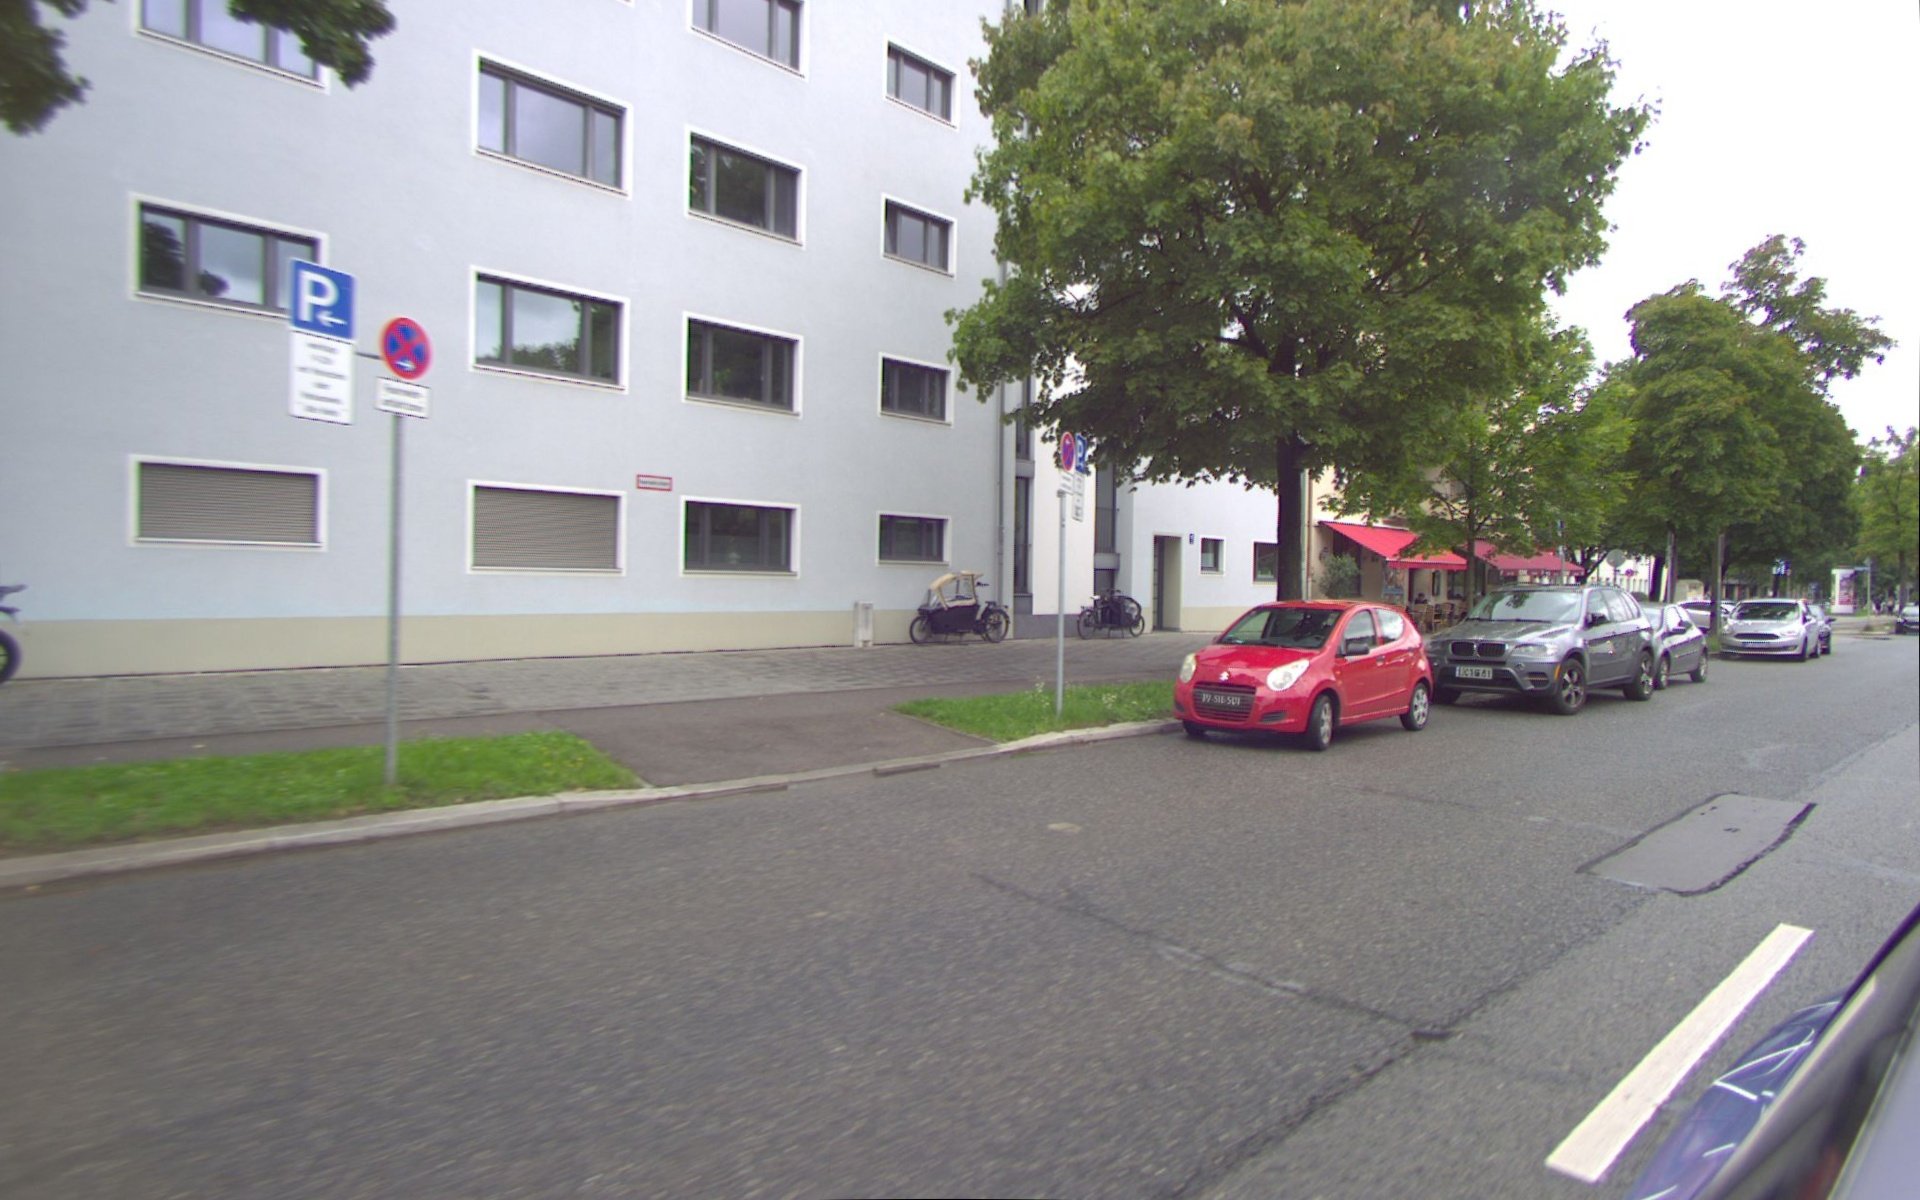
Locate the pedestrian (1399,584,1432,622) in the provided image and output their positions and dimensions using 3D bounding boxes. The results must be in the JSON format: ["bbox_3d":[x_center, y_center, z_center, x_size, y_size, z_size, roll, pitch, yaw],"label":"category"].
[{"bbox_3d":[14.840,0.094,32.993,0.635,1.177,0.745,0,3,-41],"label":"pedestrian"}]

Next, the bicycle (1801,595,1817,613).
[{"bbox_3d":[60.344,0.271,71.922,2.039,1.203,0.545,0,1,-41],"label":"bicycle"}]

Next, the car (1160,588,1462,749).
[{"bbox_3d":[3.994,0.621,11.185,3.933,1.459,1.523,0,1,-44],"label":"car"}]

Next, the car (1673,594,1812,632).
[{"bbox_3d":[33.228,0.533,43.090,1.959,1.460,4.229,0,1,-26],"label":"car"}]

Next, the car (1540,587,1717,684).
[{"bbox_3d":[12.170,0.562,18.343,3.706,1.541,1.832,0,1,-42],"label":"car"}]

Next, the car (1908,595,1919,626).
[{"bbox_3d":[47.936,0.539,49.743,3.888,1.496,1.646,1,0,-43],"label":"car"}]

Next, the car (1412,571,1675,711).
[{"bbox_3d":[8.645,0.495,14.851,4.426,1.768,1.834,0,1,-38],"label":"car"}]

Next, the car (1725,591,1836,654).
[{"bbox_3d":[21.877,0.548,26.926,4.450,1.541,1.830,0,0,-45],"label":"car"}]

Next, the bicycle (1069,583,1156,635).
[{"bbox_3d":[3.421,0.184,22.556,2.157,1.059,0.623,0,5,-41],"label":"bicycle"}]

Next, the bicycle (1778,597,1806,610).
[{"bbox_3d":[63.724,0.278,77.498,0.490,0.927,1.595,0,1,-45],"label":"bicycle"}]

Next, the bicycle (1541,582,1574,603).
[{"bbox_3d":[33.604,-0.436,56.908,0.687,1.170,1.471,0,1,-42],"label":"bicycle"}]

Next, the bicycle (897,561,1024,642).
[{"bbox_3d":[0.040,0.014,19.434,2.547,1.424,0.704,0,5,-41],"label":"bicycle"}]

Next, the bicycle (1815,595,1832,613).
[{"bbox_3d":[60.295,0.286,70.672,2.039,1.203,0.545,0,1,-41],"label":"bicycle"}]

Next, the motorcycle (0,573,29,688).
[{"bbox_3d":[-10.164,0.288,9.419,2.161,1.099,0.762,0,1,-41],"label":"motorcycle"}]

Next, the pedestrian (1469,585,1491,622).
[{"bbox_3d":[19.114,0.114,37.181,0.543,1.356,0.539,0,1,-42],"label":"pedestrian"}]

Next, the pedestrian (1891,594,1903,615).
[{"bbox_3d":[79.243,0.357,85.585,0.555,1.777,0.651,1,0,30],"label":"pedestrian"}]
